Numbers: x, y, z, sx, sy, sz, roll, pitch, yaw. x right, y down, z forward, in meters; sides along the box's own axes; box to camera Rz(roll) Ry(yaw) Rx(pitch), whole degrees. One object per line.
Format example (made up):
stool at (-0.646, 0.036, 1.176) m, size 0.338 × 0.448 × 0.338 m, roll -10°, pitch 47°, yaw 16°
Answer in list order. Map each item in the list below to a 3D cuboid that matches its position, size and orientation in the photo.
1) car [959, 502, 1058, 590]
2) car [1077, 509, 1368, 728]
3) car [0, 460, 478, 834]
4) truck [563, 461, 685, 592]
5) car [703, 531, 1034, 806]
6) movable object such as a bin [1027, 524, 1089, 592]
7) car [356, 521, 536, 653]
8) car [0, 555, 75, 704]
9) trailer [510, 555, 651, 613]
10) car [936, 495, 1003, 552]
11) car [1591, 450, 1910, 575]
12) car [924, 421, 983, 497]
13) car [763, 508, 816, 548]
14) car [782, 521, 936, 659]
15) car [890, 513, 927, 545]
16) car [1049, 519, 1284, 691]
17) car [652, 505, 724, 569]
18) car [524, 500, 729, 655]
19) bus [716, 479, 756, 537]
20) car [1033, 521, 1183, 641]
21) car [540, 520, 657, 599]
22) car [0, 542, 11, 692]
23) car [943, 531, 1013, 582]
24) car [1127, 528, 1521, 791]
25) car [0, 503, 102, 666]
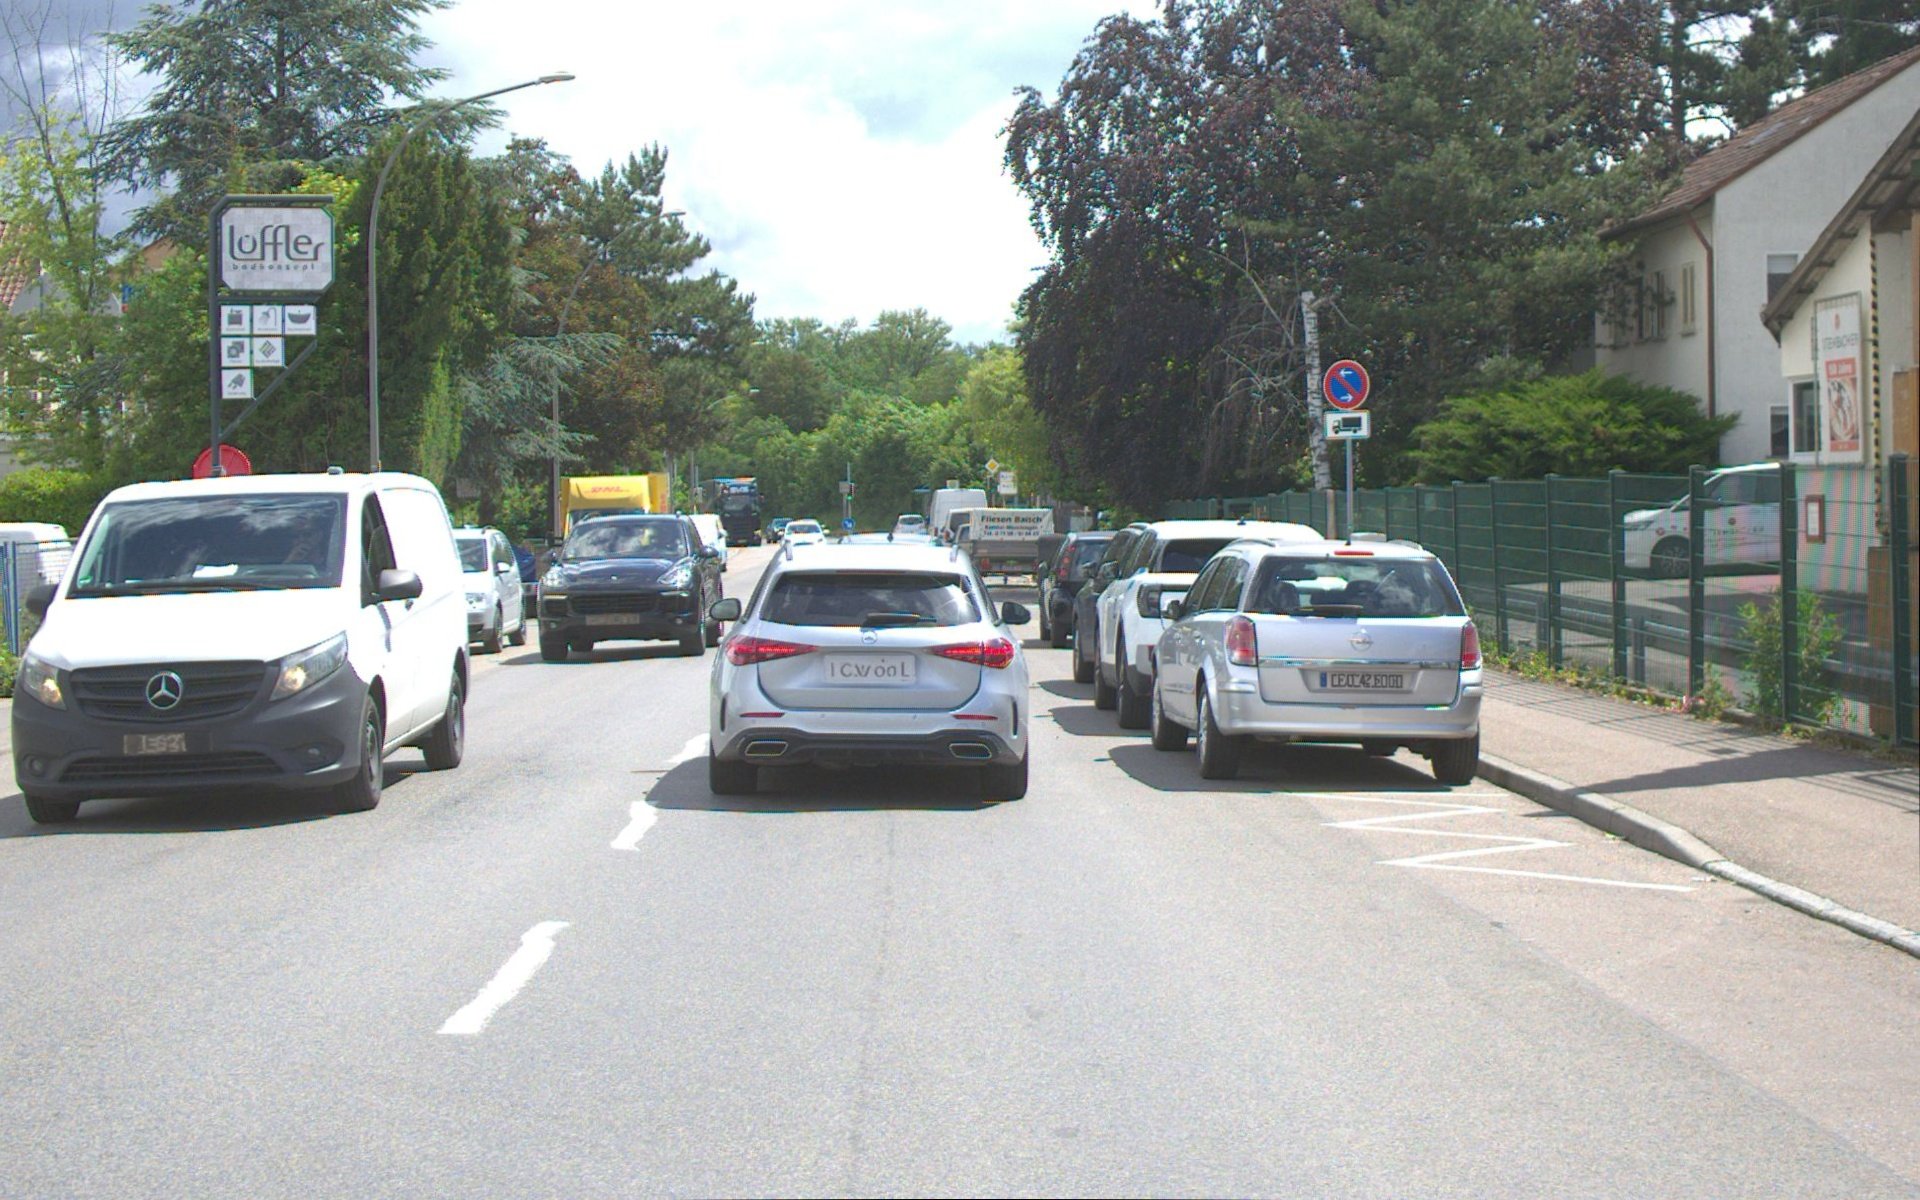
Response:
car at (1.113, -1.304, 81.141) m, size 2.144 × 1.977 × 5.262 m, roll -1°, pitch 1°, yaw -1°
car at (2.018, 0.078, 27.656) m, size 1.791 × 1.546 × 4.574 m, roll -2°, pitch 2°, yaw -2°
car at (-4.131, 0.167, 20.251) m, size 1.993 × 1.882 × 5.118 m, roll -1°, pitch 2°, yaw -2°
truck at (-7.691, -1.732, 79.353) m, size 2.075 × 2.804 × 7.078 m, roll -2°, pitch 2°, yaw 0°
car at (-0.613, 0.339, 20.794) m, size 1.784 × 1.479 × 4.317 m, roll 0°, pitch 1°, yaw -3°
movable object such as a bin at (1.866, -0.808, 65.646) m, size 1.084 × 1.266 × 1.380 m, roll 1°, pitch 2°, yaw -1°
car at (-6.796, -0.215, 45.849) m, size 1.791 × 1.598 × 4.364 m, roll -2°, pitch 2°, yaw -1°
car at (-11.983, 0.370, 37.275) m, size 4.279 × 1.561 × 1.991 m, roll -1°, pitch -2°, yaw -2°
trailer at (-7.033, -0.320, 64.229) m, size 2.228 × 0.921 × 5.949 m, roll 0°, pitch 2°, yaw -3°
car at (0.272, -2.361, 106.092) m, size 1.784 × 1.709 × 4.317 m, roll 0°, pitch 1°, yaw -3°
car at (13.611, -1.517, 59.401) m, size 5.017 × 1.922 × 2.000 m, roll -2°, pitch 1°, yaw 2°
car at (-0.237, -4.843, 118.625) m, size 1.784 × 2.510 × 4.317 m, roll 0°, pitch 1°, yaw -3°
car at (-6.647, -2.822, 134.369) m, size 1.934 × 1.487 × 4.364 m, roll -2°, pitch 2°, yaw -1°
car at (-1.268, -0.157, 41.723) m, size 1.755 × 1.552 × 4.001 m, roll 0°, pitch 2°, yaw -3°
car at (-2.631, -3.623, 175.001) m, size 1.755 × 1.552 × 4.001 m, roll 0°, pitch 2°, yaw -2°
car at (1.953, -0.001, 33.624) m, size 1.689 × 1.546 × 4.087 m, roll -1°, pitch 1°, yaw -5°
car at (-8.460, -1.982, 107.194) m, size 1.934 × 1.912 × 4.364 m, roll -2°, pitch 2°, yaw -1°
car at (-3.990, -0.325, 41.869) m, size 1.993 × 1.727 × 4.549 m, roll -2°, pitch 2°, yaw 0°
bus at (-13.397, -5.491, 205.102) m, size 1.993 × 3.352 × 6.984 m, roll 1°, pitch 2°, yaw -6°
car at (1.875, -0.278, 44.577) m, size 1.689 × 1.445 × 3.849 m, roll -1°, pitch 1°, yaw -1°
car at (-7.343, -0.851, 70.210) m, size 2.075 × 1.472 × 4.457 m, roll -2°, pitch 2°, yaw -2°
car at (-12.114, 0.199, 35.117) m, size 4.279 × 1.561 × 1.991 m, roll -1°, pitch -2°, yaw -1°
car at (0.517, -1.283, 101.181) m, size 1.784 × 1.479 × 4.317 m, roll 0°, pitch 1°, yaw -3°
car at (2.231, 0.300, 22.222) m, size 1.791 × 1.445 × 4.364 m, roll -2°, pitch 2°, yaw -4°
car at (-12.487, -0.134, 40.489) m, size 4.279 × 1.830 × 1.991 m, roll -1°, pitch -2°, yaw -2°
